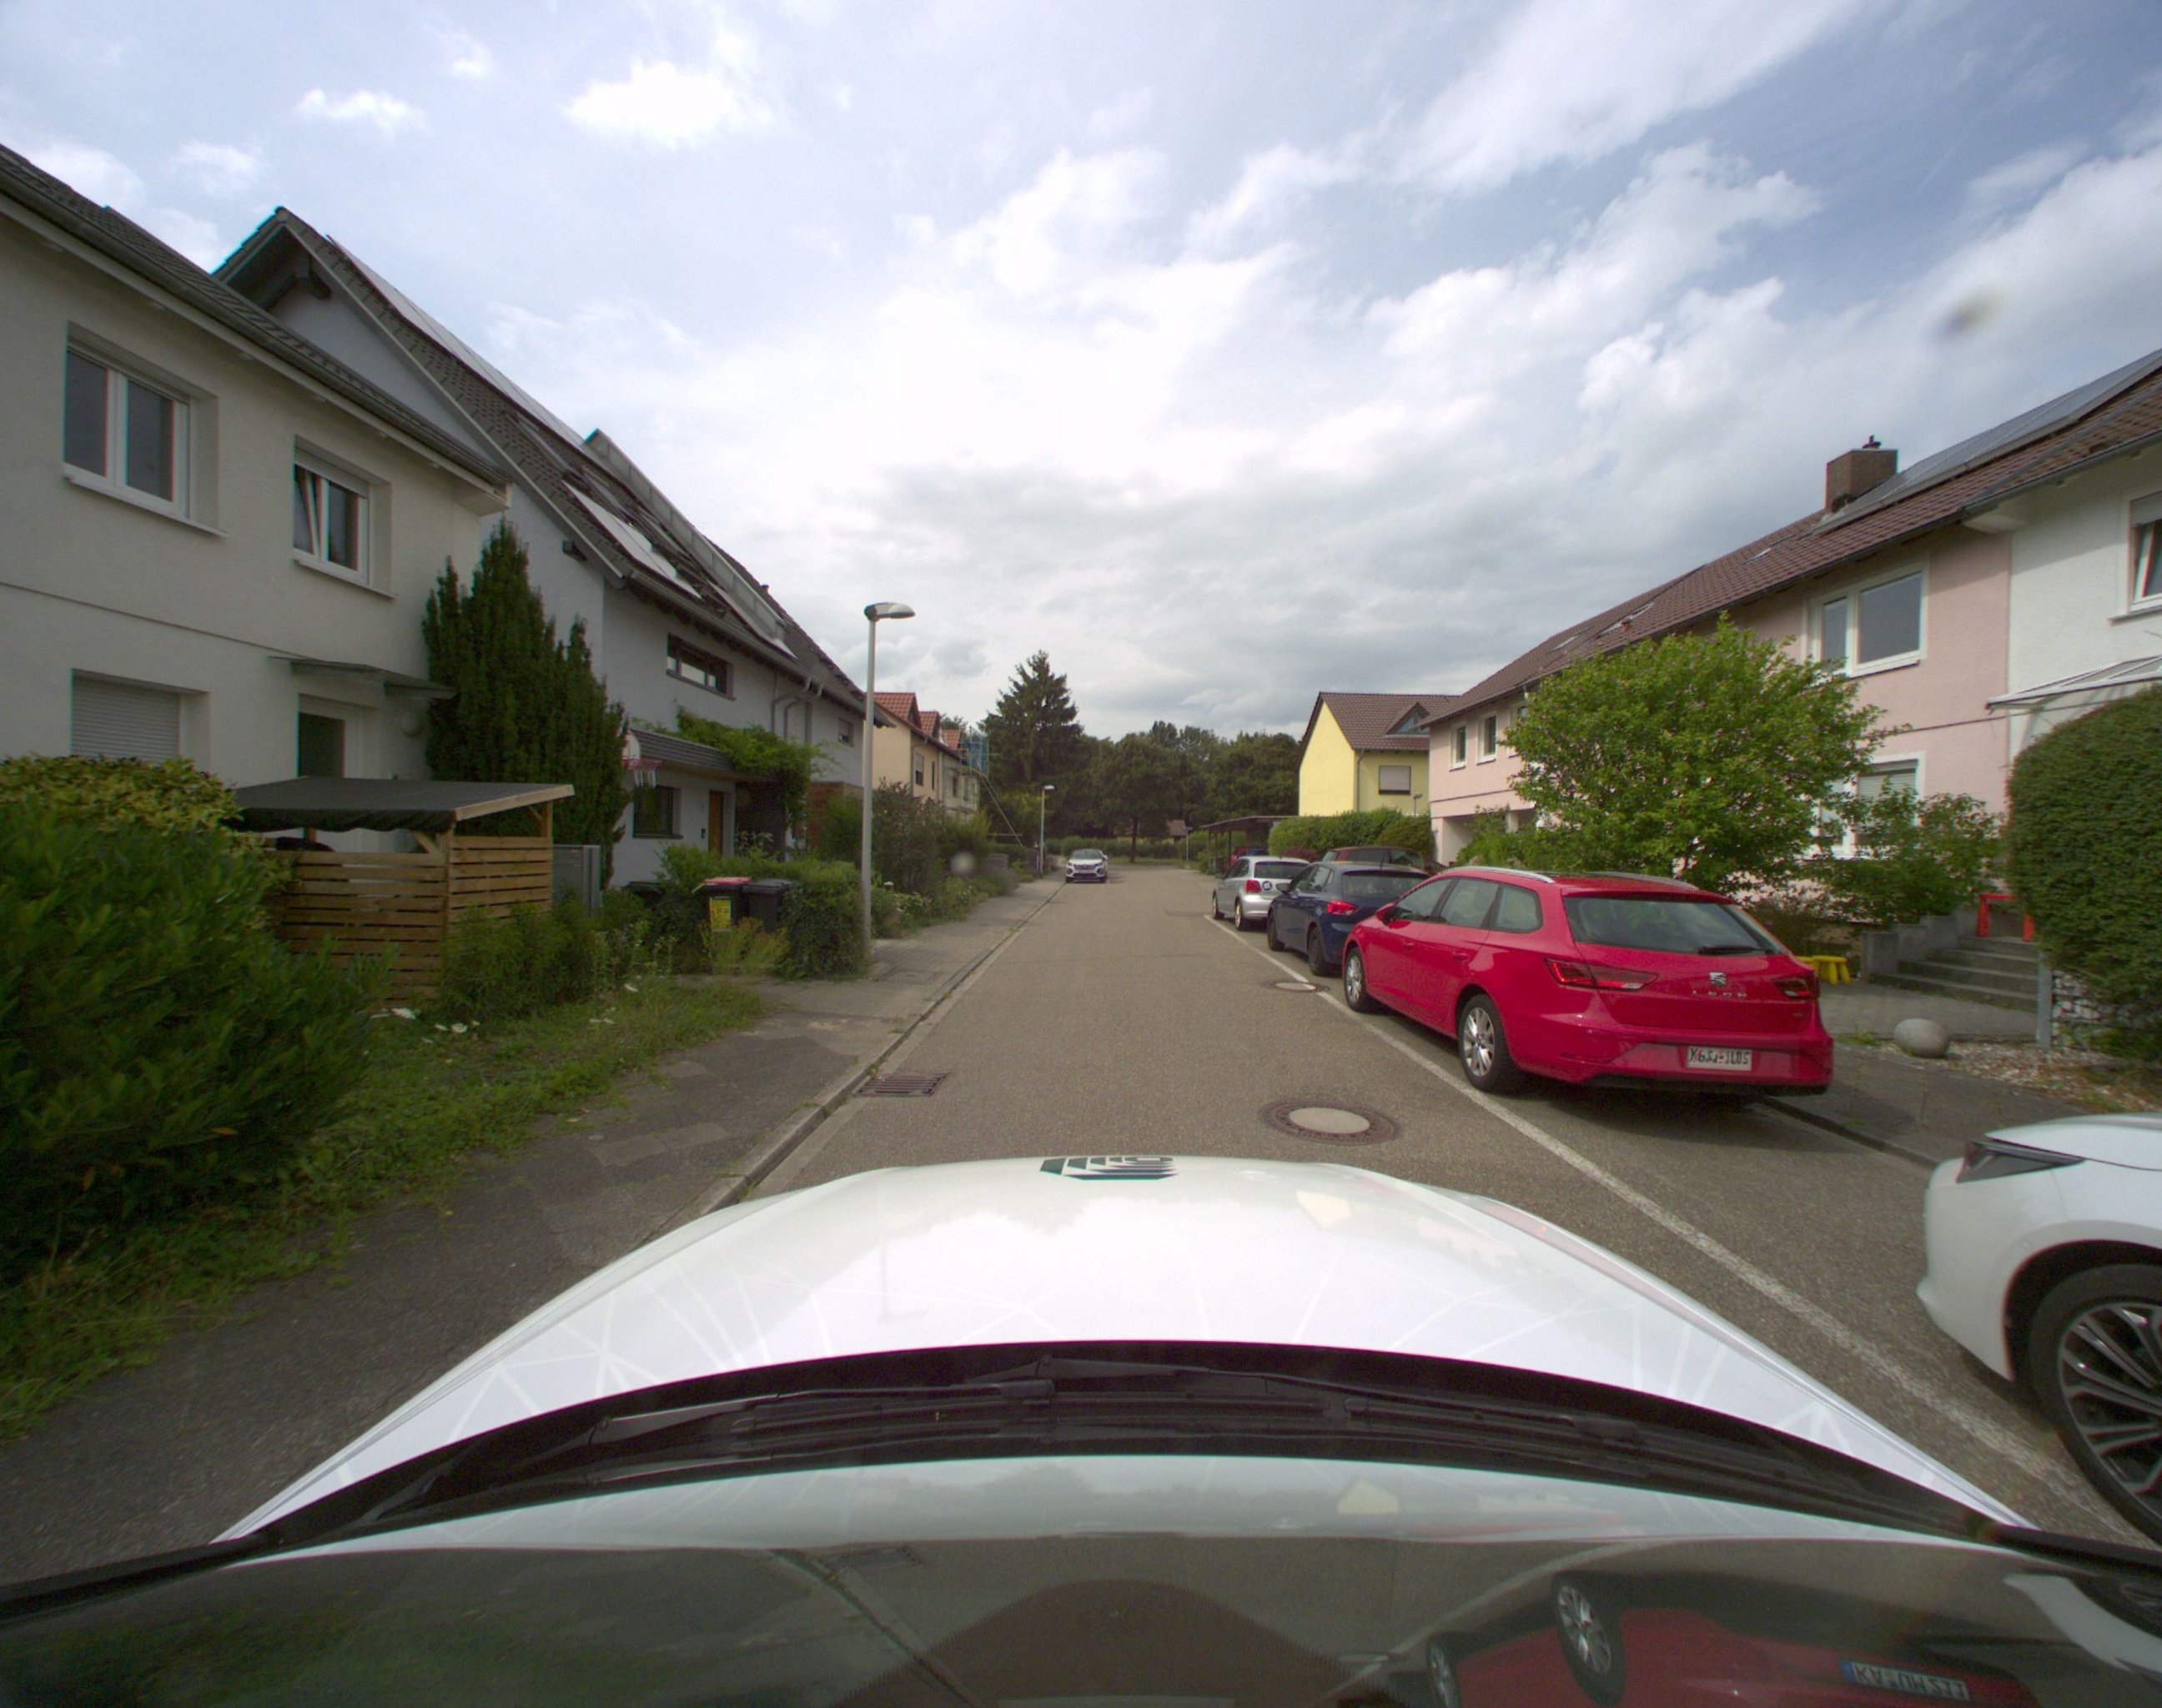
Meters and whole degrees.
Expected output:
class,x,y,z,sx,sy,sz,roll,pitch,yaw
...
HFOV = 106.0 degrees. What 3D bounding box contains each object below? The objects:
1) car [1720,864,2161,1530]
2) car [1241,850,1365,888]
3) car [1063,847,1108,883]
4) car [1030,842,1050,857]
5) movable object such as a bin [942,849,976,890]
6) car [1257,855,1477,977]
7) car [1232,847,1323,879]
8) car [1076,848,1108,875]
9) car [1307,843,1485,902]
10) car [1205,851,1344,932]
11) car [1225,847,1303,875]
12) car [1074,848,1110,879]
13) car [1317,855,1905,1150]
class,x,y,z,sx,sy,sz,roll,pitch,yaw
car,3.271,0.767,0.663,1.832,1.413,4.635,0,0,-1
car,8.818,0.576,32.642,4.436,1.433,2.027,0,0,-1
car,0.264,0.450,37.992,1.926,1.556,4.637,0,0,2
car,-4.699,-0.490,94.789,1.930,1.660,4.343,1,1,2
movable object such as a bin,-3.940,0.492,26.332,0.946,1.312,1.001,0,0,1
car,3.745,0.719,11.510,1.766,1.356,4.268,0,0,2
car,9.643,0.415,40.171,4.034,1.522,1.949,0,0,-2
car,0.686,0.416,48.849,1.785,1.531,4.142,0,0,2
car,8.678,0.496,22.733,4.254,1.560,1.936,0,0,2
car,3.857,0.683,17.009,1.859,1.417,4.252,1,1,-1
car,10.095,0.363,45.086,3.946,1.540,1.838,0,0,-1
car,0.626,0.476,43.387,1.803,1.562,4.849,0,0,1
car,3.470,0.777,6.678,1.767,1.436,4.828,3,0,2
